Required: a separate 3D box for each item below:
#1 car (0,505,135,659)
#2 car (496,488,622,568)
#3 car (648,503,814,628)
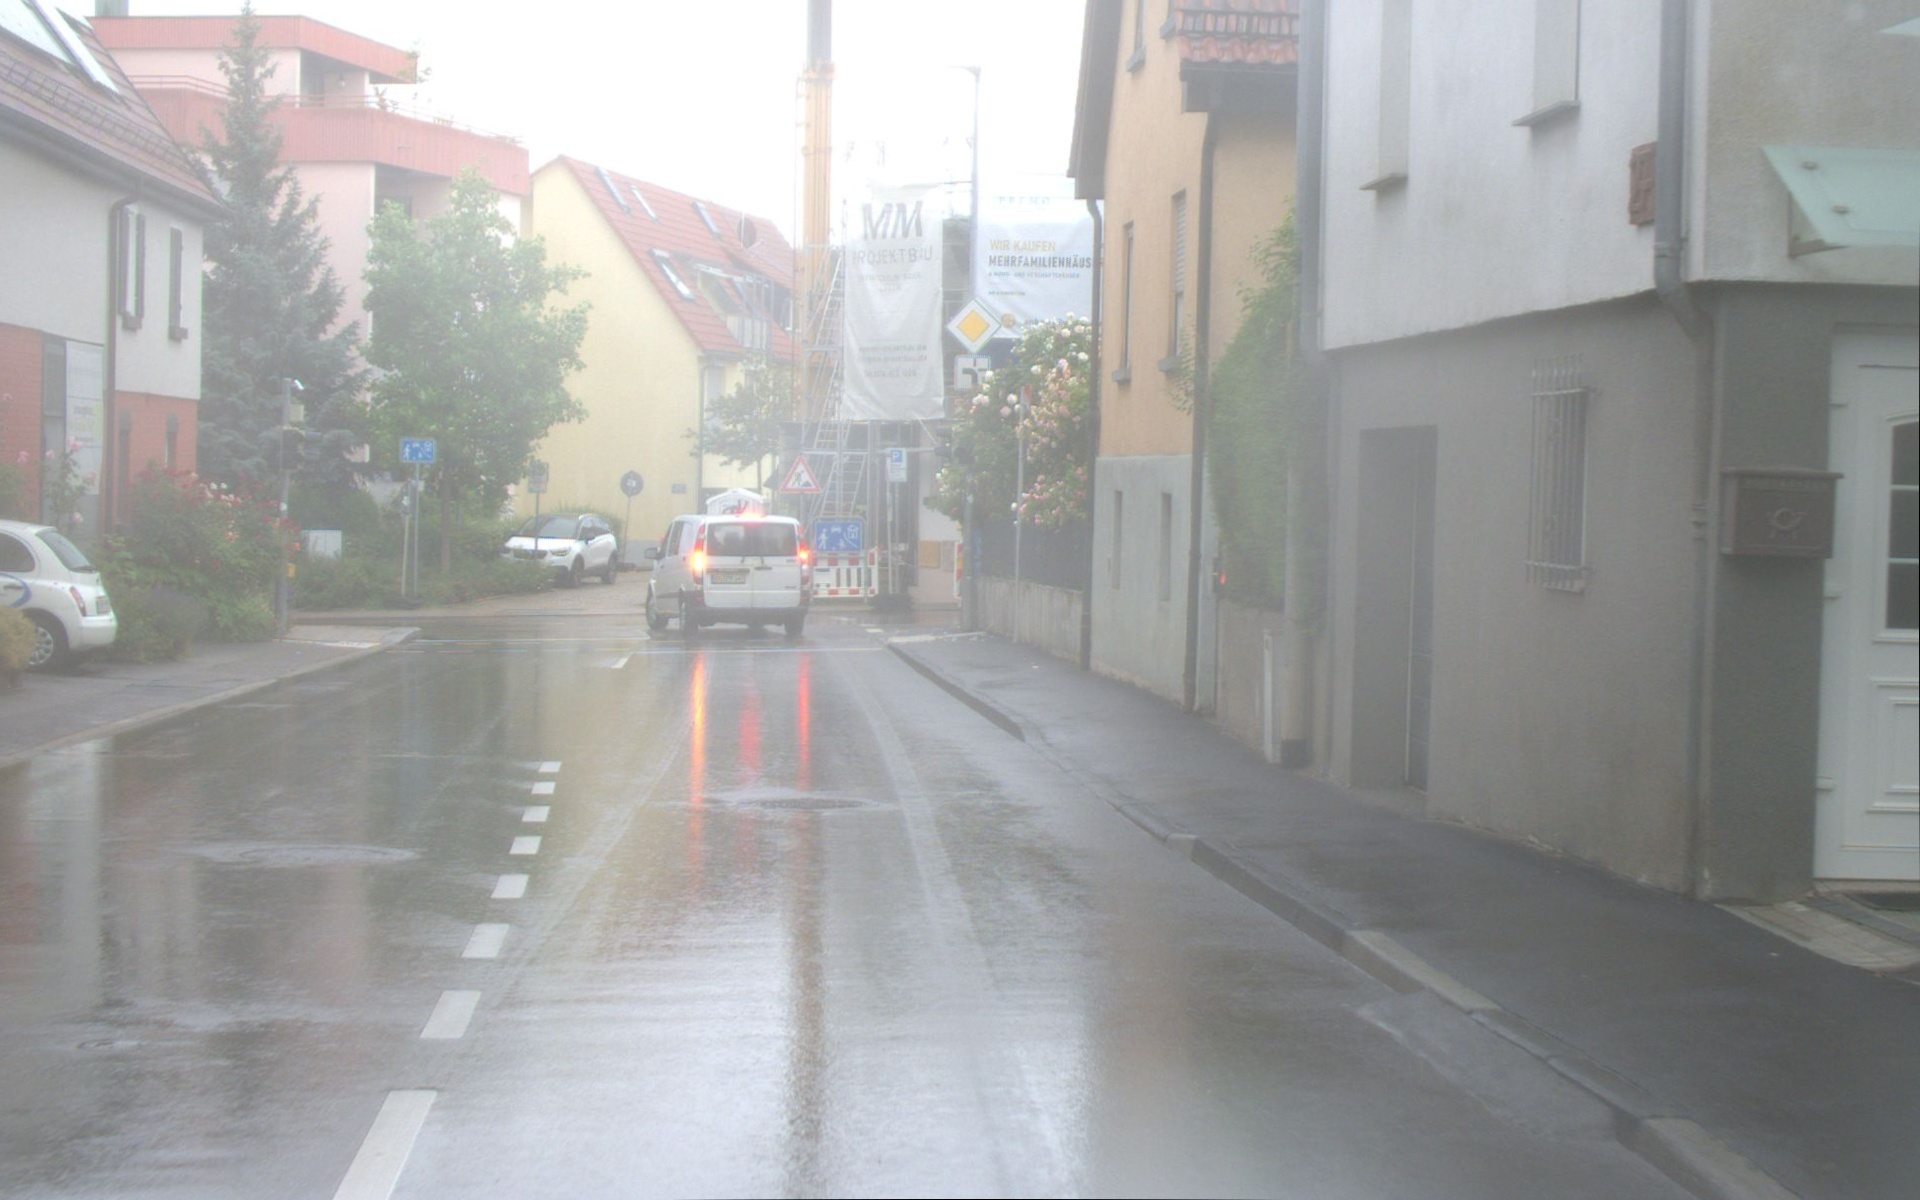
[{"bbox_3d":[-10.571,-0.255,35.765,3.544,1.524,1.663,3,1,-2],"label":"car"},{"bbox_3d":[-8.928,-1.632,76.804,1.601,1.672,3.937,2,2,12],"label":"car"},{"bbox_3d":[-3.608,-0.530,53.562,2.181,1.863,4.001,0,0,-10],"label":"car"}]
